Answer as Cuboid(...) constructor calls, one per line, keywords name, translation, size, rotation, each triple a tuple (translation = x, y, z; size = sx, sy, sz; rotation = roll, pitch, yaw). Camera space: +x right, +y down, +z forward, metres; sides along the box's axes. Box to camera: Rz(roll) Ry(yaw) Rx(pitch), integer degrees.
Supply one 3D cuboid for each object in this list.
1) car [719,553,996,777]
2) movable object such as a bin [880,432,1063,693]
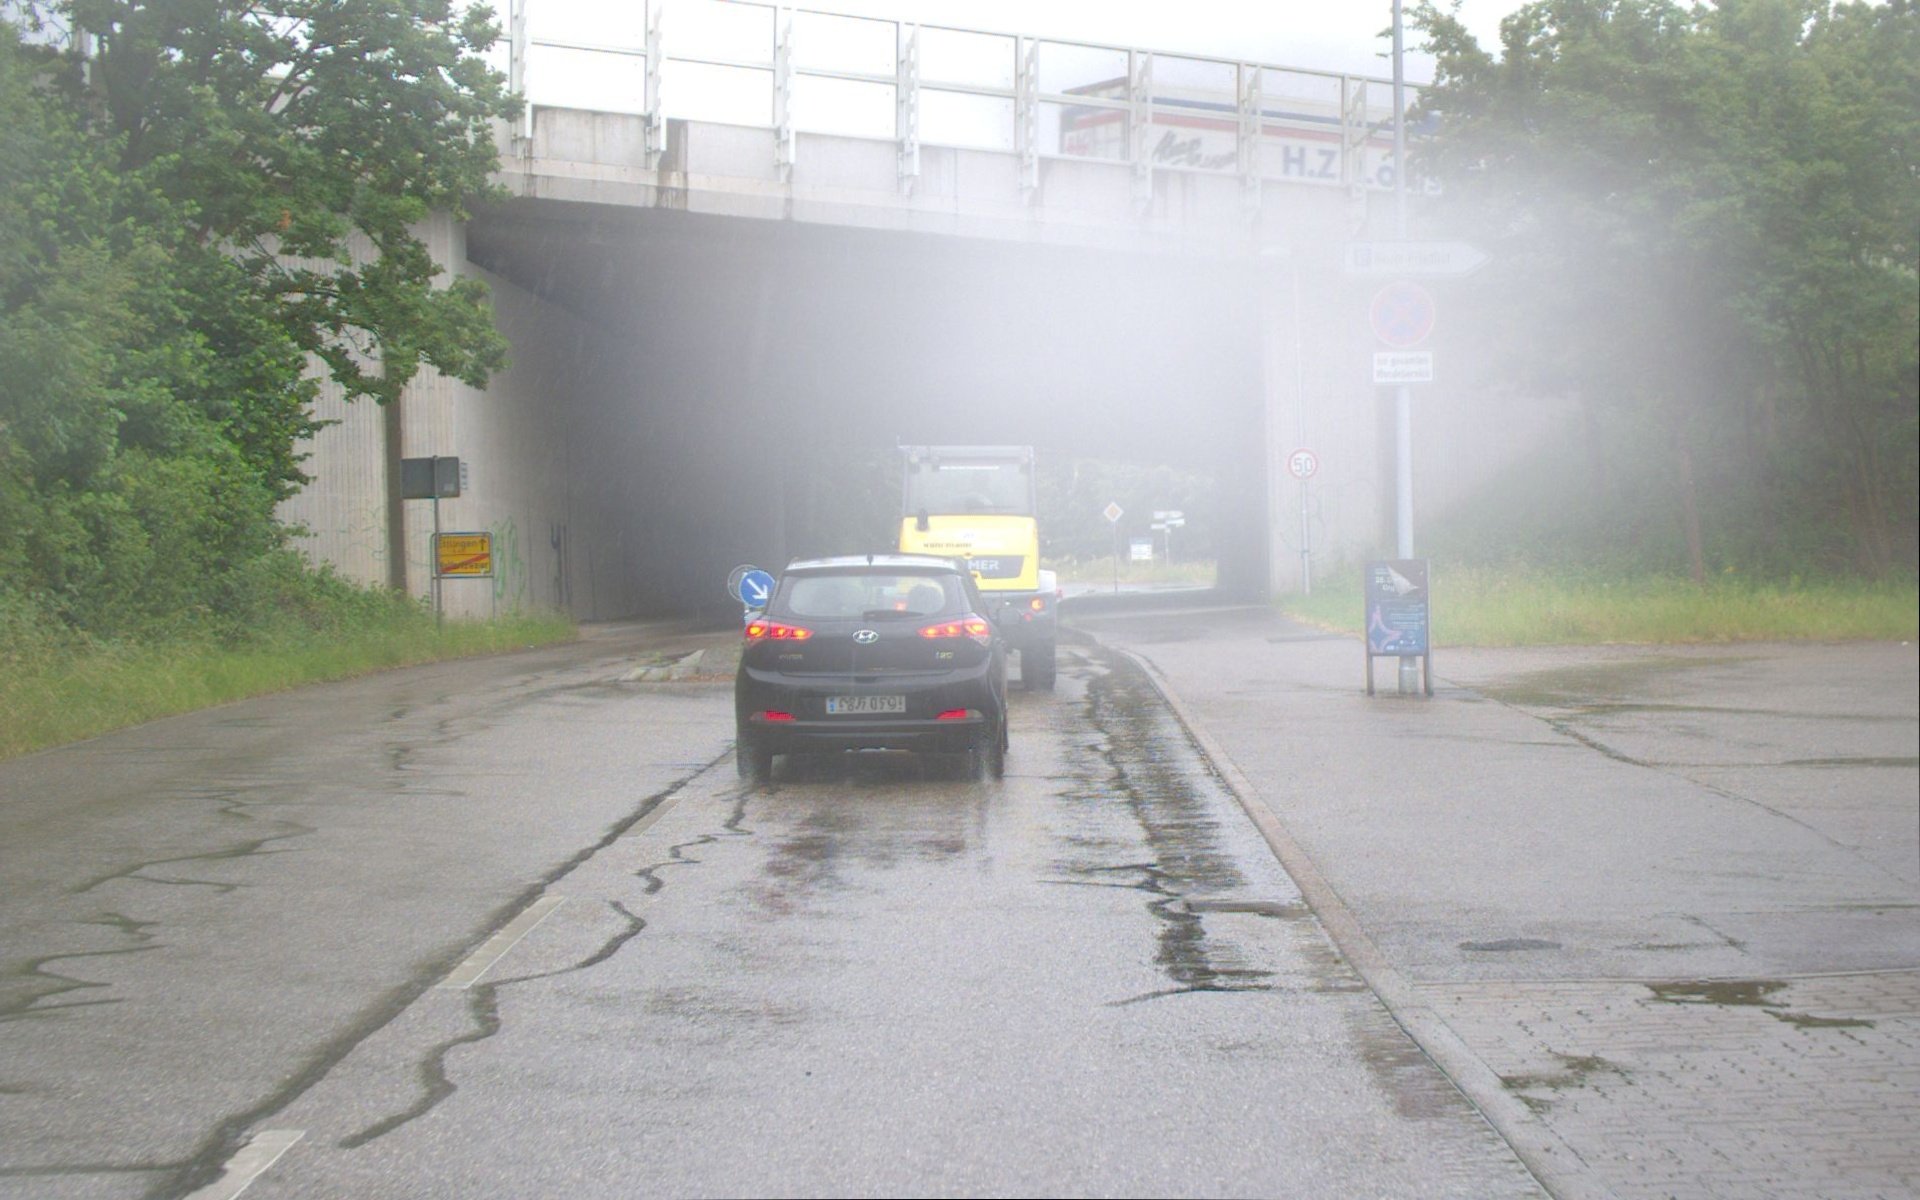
Cuboid(name="car", translation=(-0.654, 0.381, 23.360), size=(1.708, 1.373, 4.000), rotation=(1, 1, 0))
Cuboid(name="movable object such as a bin", translation=(0.090, -0.393, 35.736), size=(1.761, 2.539, 4.239), rotation=(1, 1, -1))
